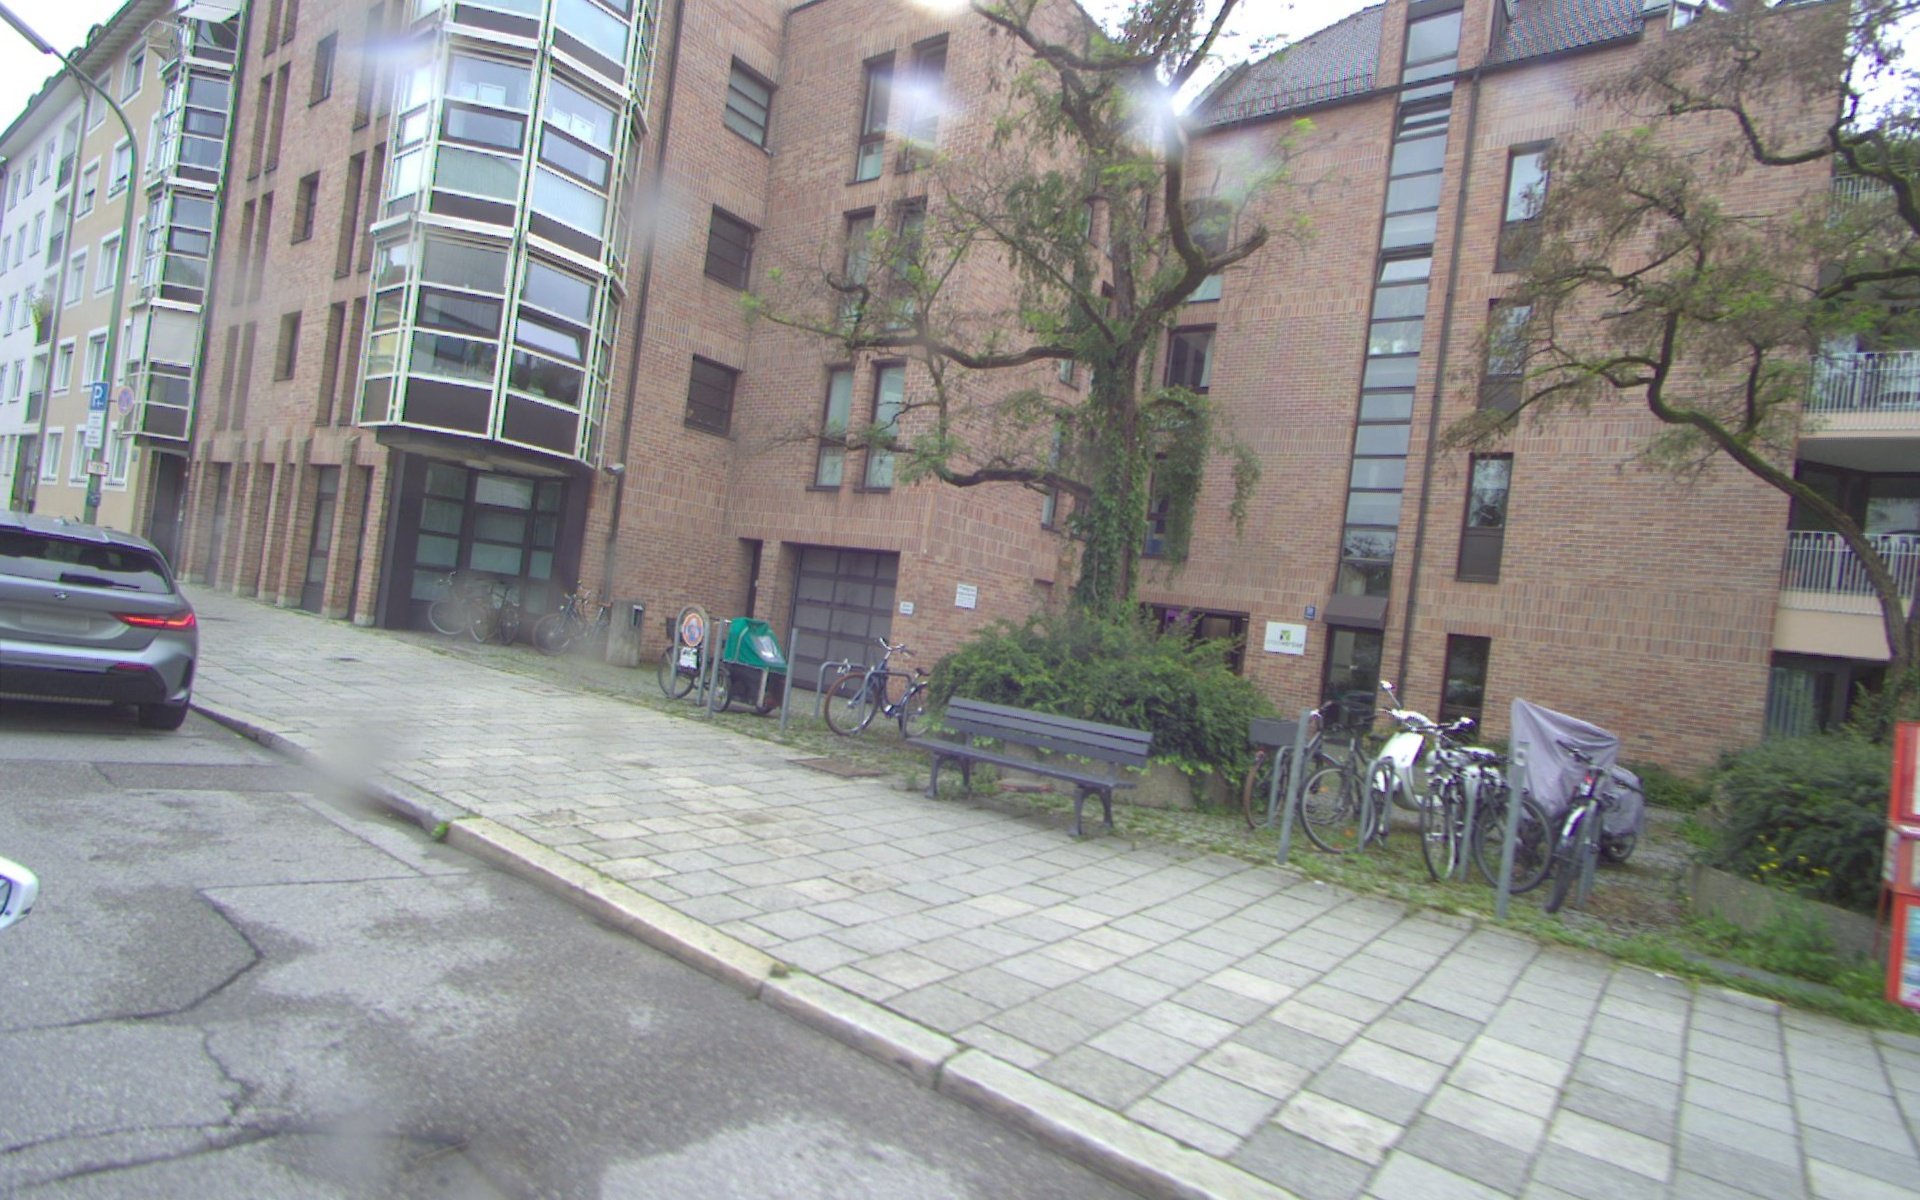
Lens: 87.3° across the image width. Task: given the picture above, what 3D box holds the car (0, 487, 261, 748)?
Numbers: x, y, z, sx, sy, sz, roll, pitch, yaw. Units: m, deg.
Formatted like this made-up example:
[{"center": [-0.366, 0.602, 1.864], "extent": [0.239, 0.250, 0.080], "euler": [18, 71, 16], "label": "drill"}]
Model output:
[{"center": [-7.217, -0.061, 7.609], "extent": [4.328, 1.529, 1.926], "euler": [7, -3, 40], "label": "car"}]

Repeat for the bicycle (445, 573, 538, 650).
[{"center": [-8.164, 0.183, 17.496], "extent": [1.965, 1.072, 0.486], "euler": [7, -2, 37], "label": "bicycle"}]

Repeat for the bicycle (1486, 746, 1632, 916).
[{"center": [4.304, 1.596, 7.169], "extent": [0.538, 0.976, 1.701], "euler": [9, -2, 40], "label": "bicycle"}]

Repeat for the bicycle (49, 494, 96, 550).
[{"center": [-24.356, -2.153, 27.594], "extent": [2.636, 1.303, 0.468], "euler": [8, -1, 41], "label": "bicycle"}]

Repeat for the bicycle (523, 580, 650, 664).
[{"center": [-6.307, 0.395, 17.079], "extent": [0.481, 1.160, 1.846], "euler": [8, -2, 45], "label": "bicycle"}]

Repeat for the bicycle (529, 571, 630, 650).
[{"center": [-6.633, 0.203, 17.575], "extent": [0.378, 1.160, 1.475], "euler": [8, -2, 45], "label": "bicycle"}]

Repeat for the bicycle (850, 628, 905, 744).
[{"center": [-0.956, 0.942, 11.491], "extent": [0.414, 1.186, 1.360], "euler": [9, -1, -6], "label": "bicycle"}]

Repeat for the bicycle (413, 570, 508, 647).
[{"center": [-8.485, 0.124, 17.045], "extent": [1.965, 1.071, 0.486], "euler": [6, -2, 37], "label": "bicycle"}]

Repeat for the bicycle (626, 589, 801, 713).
[{"center": [-3.136, 0.610, 12.652], "extent": [2.375, 1.262, 0.535], "euler": [6, -2, 34], "label": "bicycle"}]

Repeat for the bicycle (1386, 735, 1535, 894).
[{"center": [3.838, 1.589, 7.638], "extent": [0.538, 0.976, 1.701], "euler": [9, -2, 40], "label": "bicycle"}]

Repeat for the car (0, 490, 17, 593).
[{"center": [-15.422, -1.033, 14.448], "extent": [4.199, 1.620, 1.833], "euler": [8, -2, 36], "label": "car"}]

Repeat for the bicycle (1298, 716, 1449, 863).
[{"center": [3.371, 1.502, 8.105], "extent": [0.538, 0.976, 1.701], "euler": [9, -2, 40], "label": "bicycle"}]
